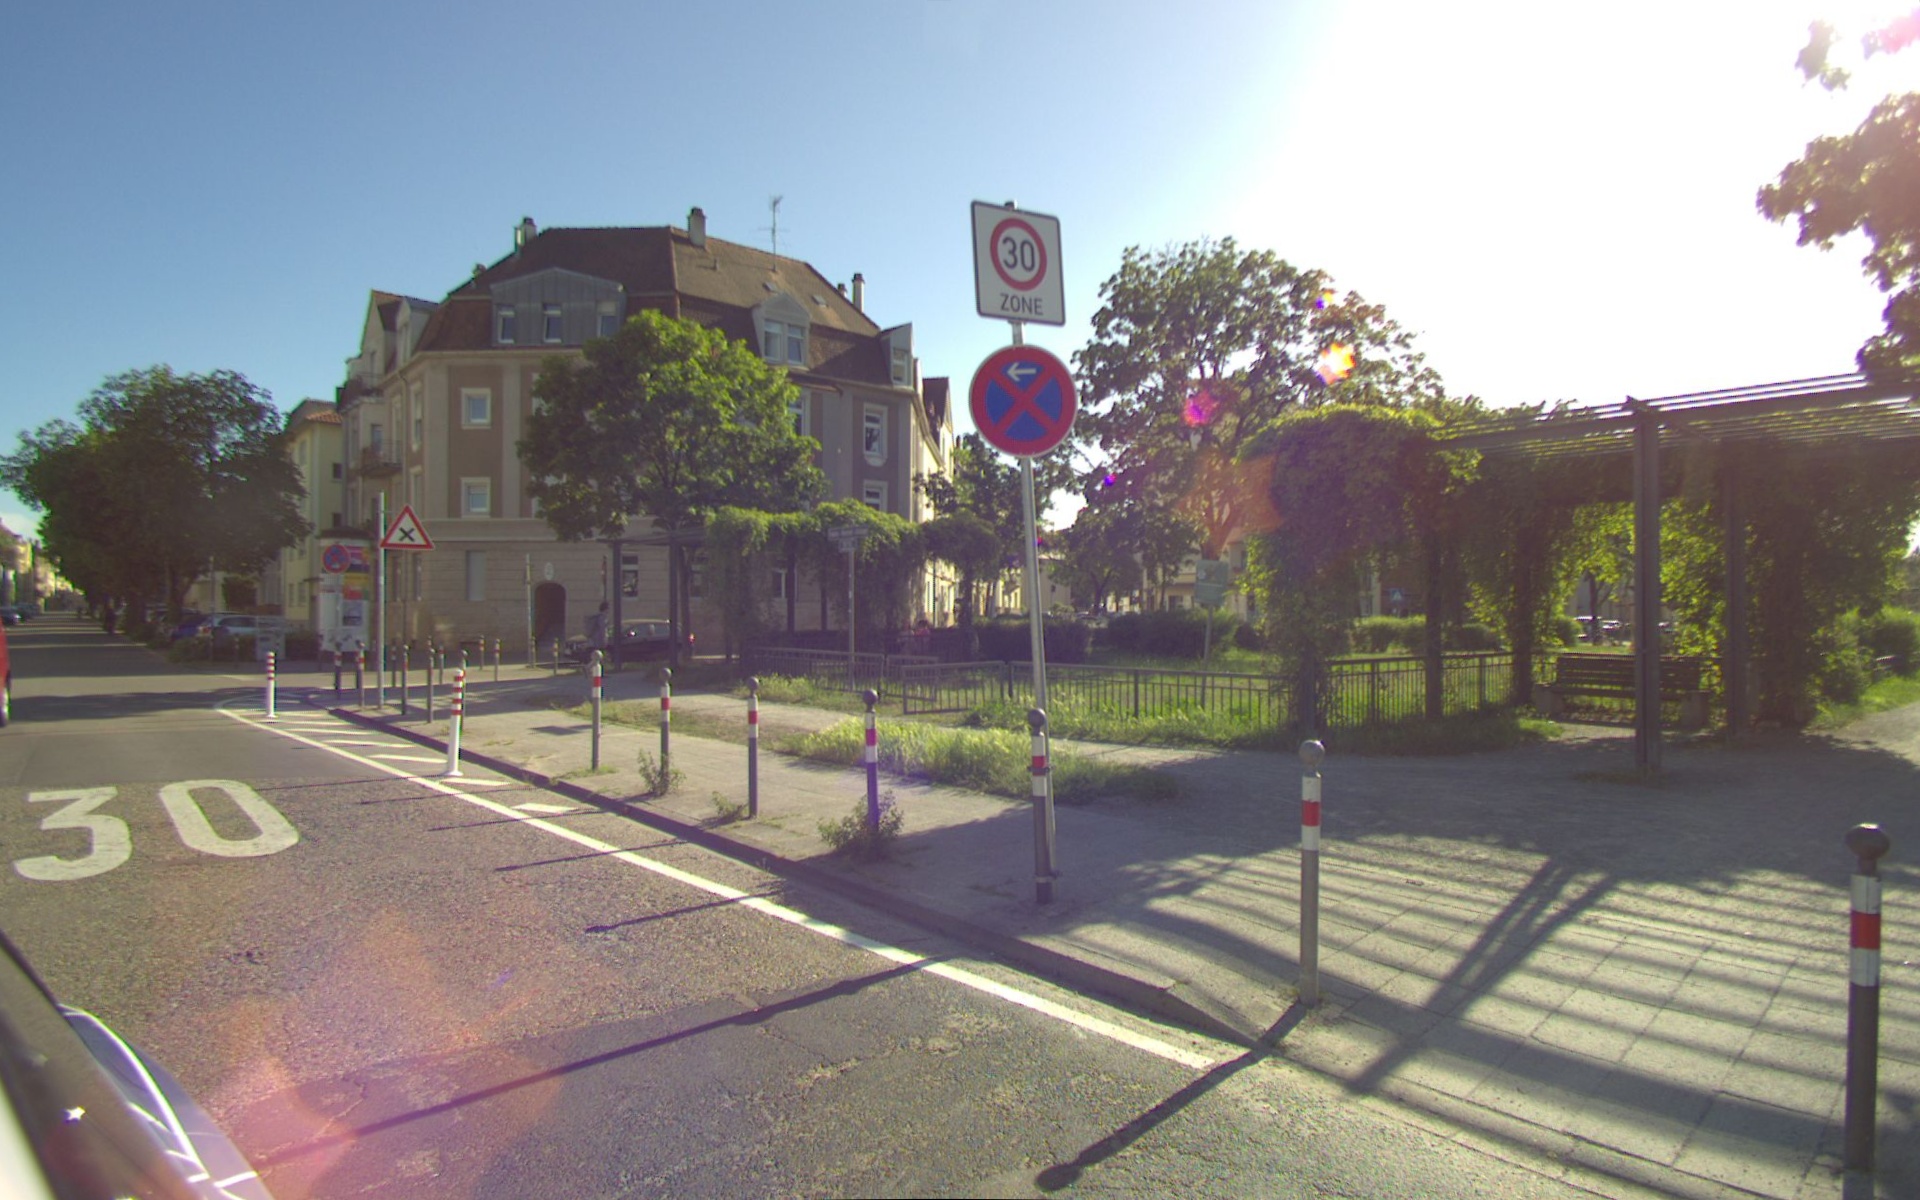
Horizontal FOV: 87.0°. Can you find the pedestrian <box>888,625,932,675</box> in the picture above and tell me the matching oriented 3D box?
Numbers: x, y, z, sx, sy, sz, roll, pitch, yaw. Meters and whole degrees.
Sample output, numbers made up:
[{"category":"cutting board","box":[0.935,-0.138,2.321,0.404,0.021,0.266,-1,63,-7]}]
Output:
[{"category":"pedestrian","box":[-1.182,1.176,23.900,0.861,1.147,0.600,1,-2,-41]}]

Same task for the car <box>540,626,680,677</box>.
[{"category":"car","box":[-11.513,1.648,33.439,3.955,1.494,1.869,1,1,-45]}]

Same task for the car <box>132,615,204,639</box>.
[{"category":"car","box":[-51.041,1.722,65.254,1.692,1.506,3.480,-1,-1,43]}]

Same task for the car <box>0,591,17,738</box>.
[{"category":"car","box":[-13.010,0.878,12.195,1.866,1.975,4.897,1,0,-37]}]

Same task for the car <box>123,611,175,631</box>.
[{"category":"car","box":[-72.215,1.828,90.086,3.478,1.716,1.694,0,-1,-44]}]

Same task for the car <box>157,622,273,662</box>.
[{"category":"car","box":[-31.188,1.718,42.440,3.735,1.506,1.693,0,-1,-45]}]

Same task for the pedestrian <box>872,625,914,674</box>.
[{"category":"pedestrian","box":[-1.615,1.189,24.426,0.833,1.158,0.600,1,-2,-41]}]

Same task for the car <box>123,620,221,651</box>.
[{"category":"car","box":[-41.103,1.820,52.852,1.688,1.506,3.746,-1,-1,35]}]

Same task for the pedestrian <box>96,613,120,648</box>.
[{"category":"pedestrian","box":[-49.860,1.783,59.238,1.008,2.029,1.072,2,-2,-43]}]

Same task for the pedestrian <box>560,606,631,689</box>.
[{"category":"pedestrian","box":[-7.842,1.002,21.802,0.910,1.686,1.079,-1,2,30]}]

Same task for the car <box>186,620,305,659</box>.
[{"category":"car","box":[-29.148,1.560,41.342,3.735,1.455,1.693,0,-1,-45]}]
